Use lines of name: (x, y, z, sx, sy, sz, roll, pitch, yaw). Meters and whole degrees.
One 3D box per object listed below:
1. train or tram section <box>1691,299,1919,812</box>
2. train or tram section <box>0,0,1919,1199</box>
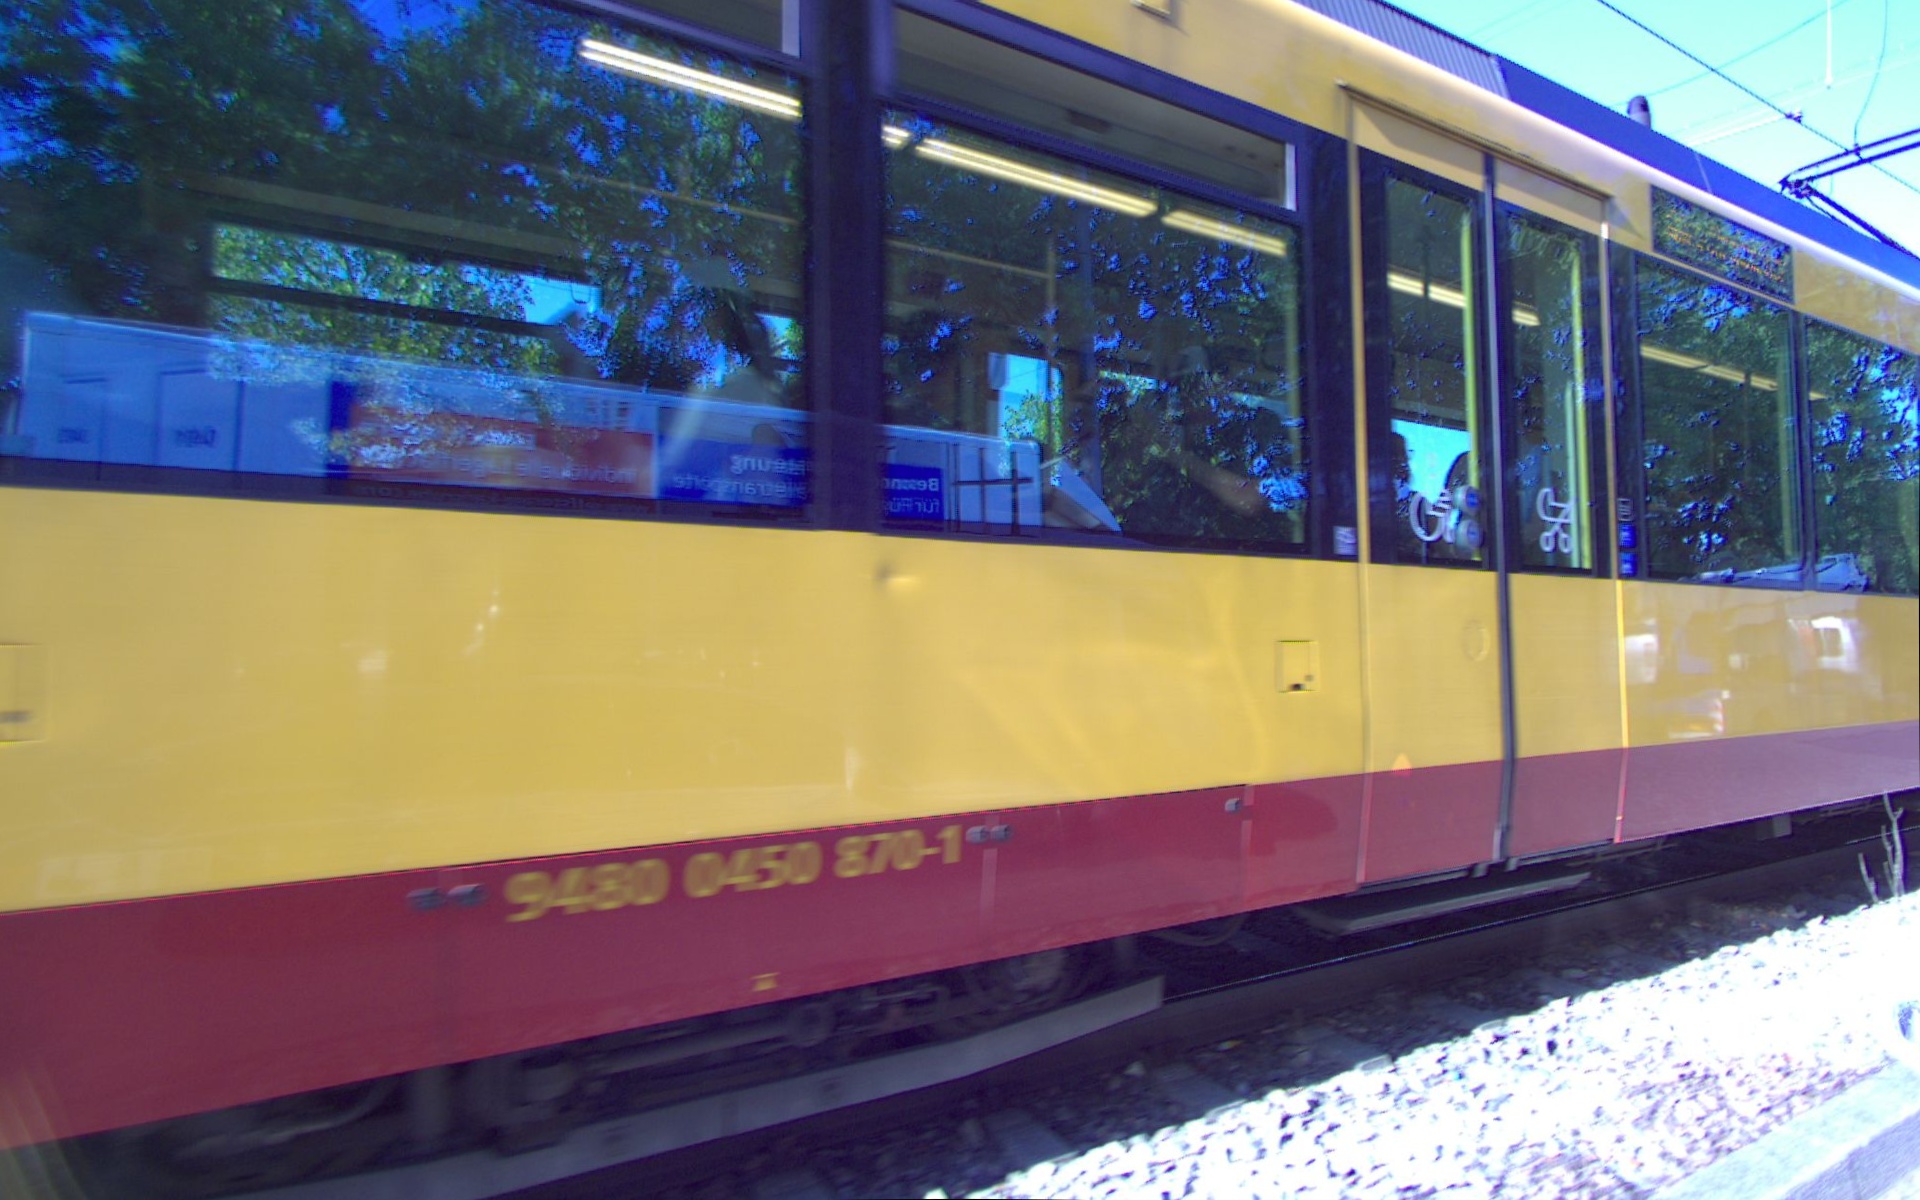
train or tram section: (11.842, -0.245, 10.833, 9.793, 4.143, 2.682, 1, -2, -30)
train or tram section: (1.800, -0.524, 4.947, 13.455, 4.145, 2.709, 2, -2, -30)
